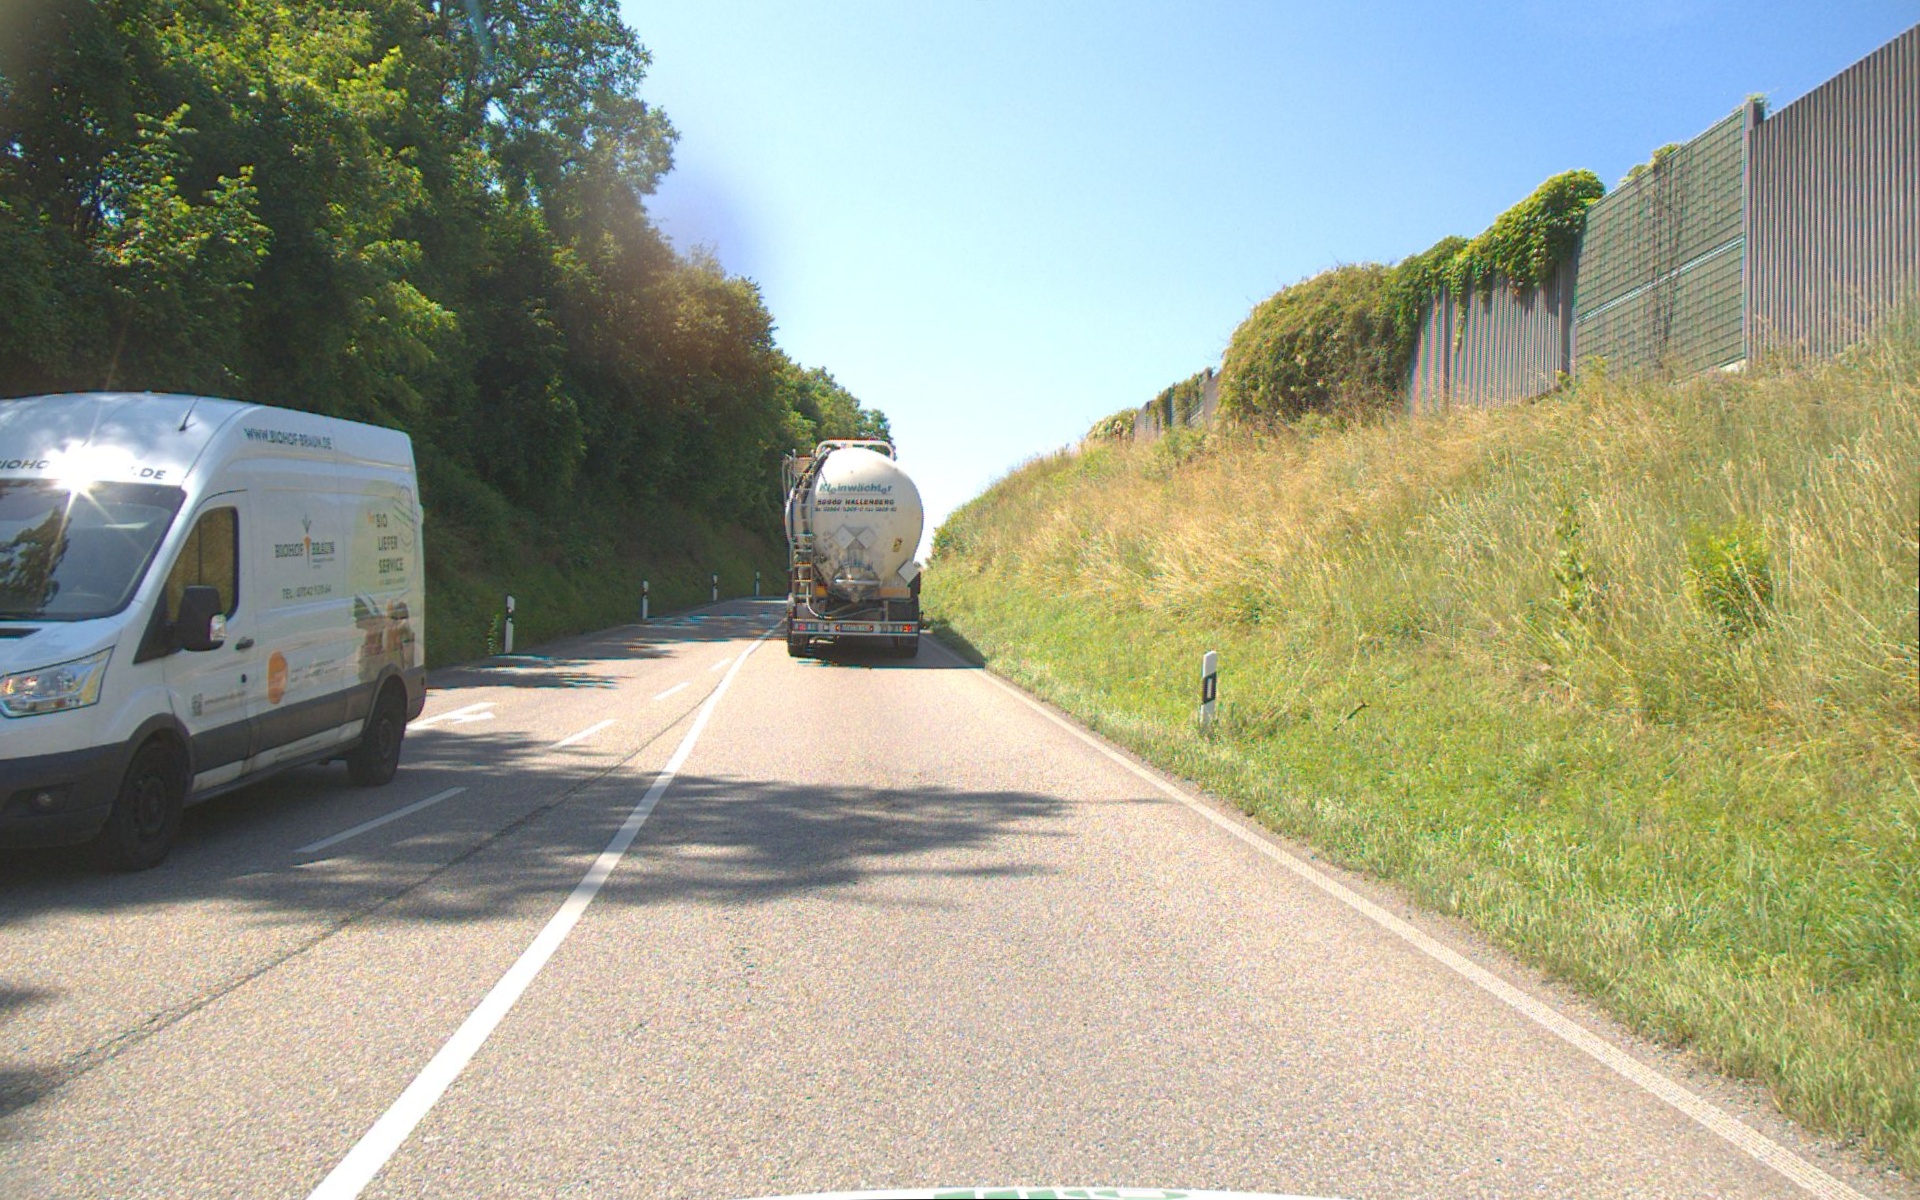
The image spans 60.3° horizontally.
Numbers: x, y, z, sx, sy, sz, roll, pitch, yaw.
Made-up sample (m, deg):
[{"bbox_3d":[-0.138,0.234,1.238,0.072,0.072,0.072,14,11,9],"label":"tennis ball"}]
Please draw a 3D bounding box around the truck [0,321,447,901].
[{"bbox_3d":[-5.215,0.027,10.764,2.011,2.734,5.980,0,0,-1],"label":"truck"}]

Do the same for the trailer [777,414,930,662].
[{"bbox_3d":[-2.146,-1.191,34.606,2.608,4.261,11.898,1,1,-3],"label":"trailer"}]

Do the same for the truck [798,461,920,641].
[{"bbox_3d":[-2.366,-1.163,40.604,2.672,3.998,7.261,1,1,-2],"label":"truck"}]

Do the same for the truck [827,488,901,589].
[{"bbox_3d":[-4.602,-2.937,81.490,3.127,4.383,11.796,4,1,-2],"label":"truck"}]
